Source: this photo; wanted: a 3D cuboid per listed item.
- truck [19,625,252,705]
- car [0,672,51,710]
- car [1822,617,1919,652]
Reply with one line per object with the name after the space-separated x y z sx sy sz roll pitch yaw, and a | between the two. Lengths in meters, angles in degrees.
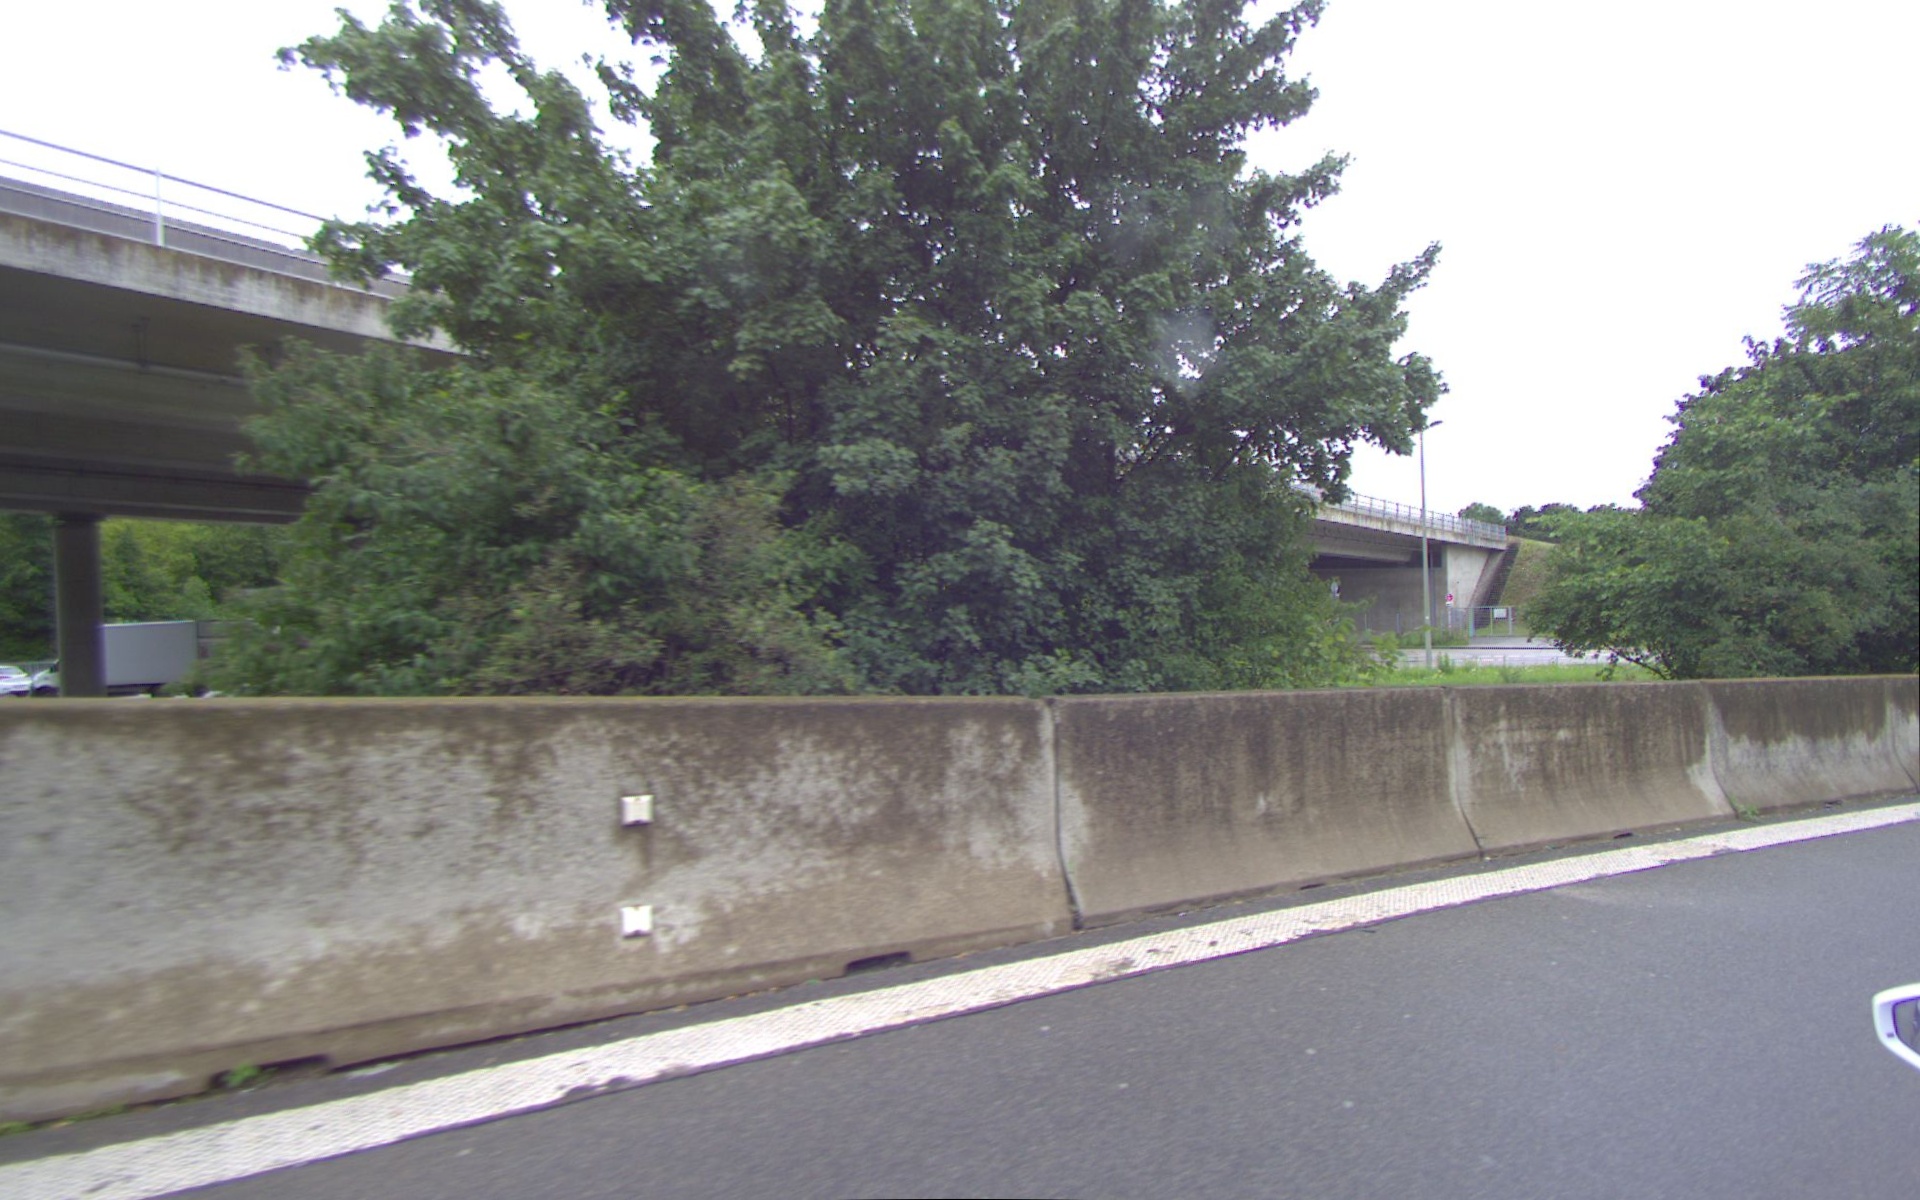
-31.901 2.496 39.036 7.090 3.016 2.261 0 -2 0 | truck
-43.958 4.118 45.069 4.500 1.604 1.976 -1 -2 0 | car
40.950 1.491 43.940 4.721 1.415 1.976 -1 -1 1 | car
